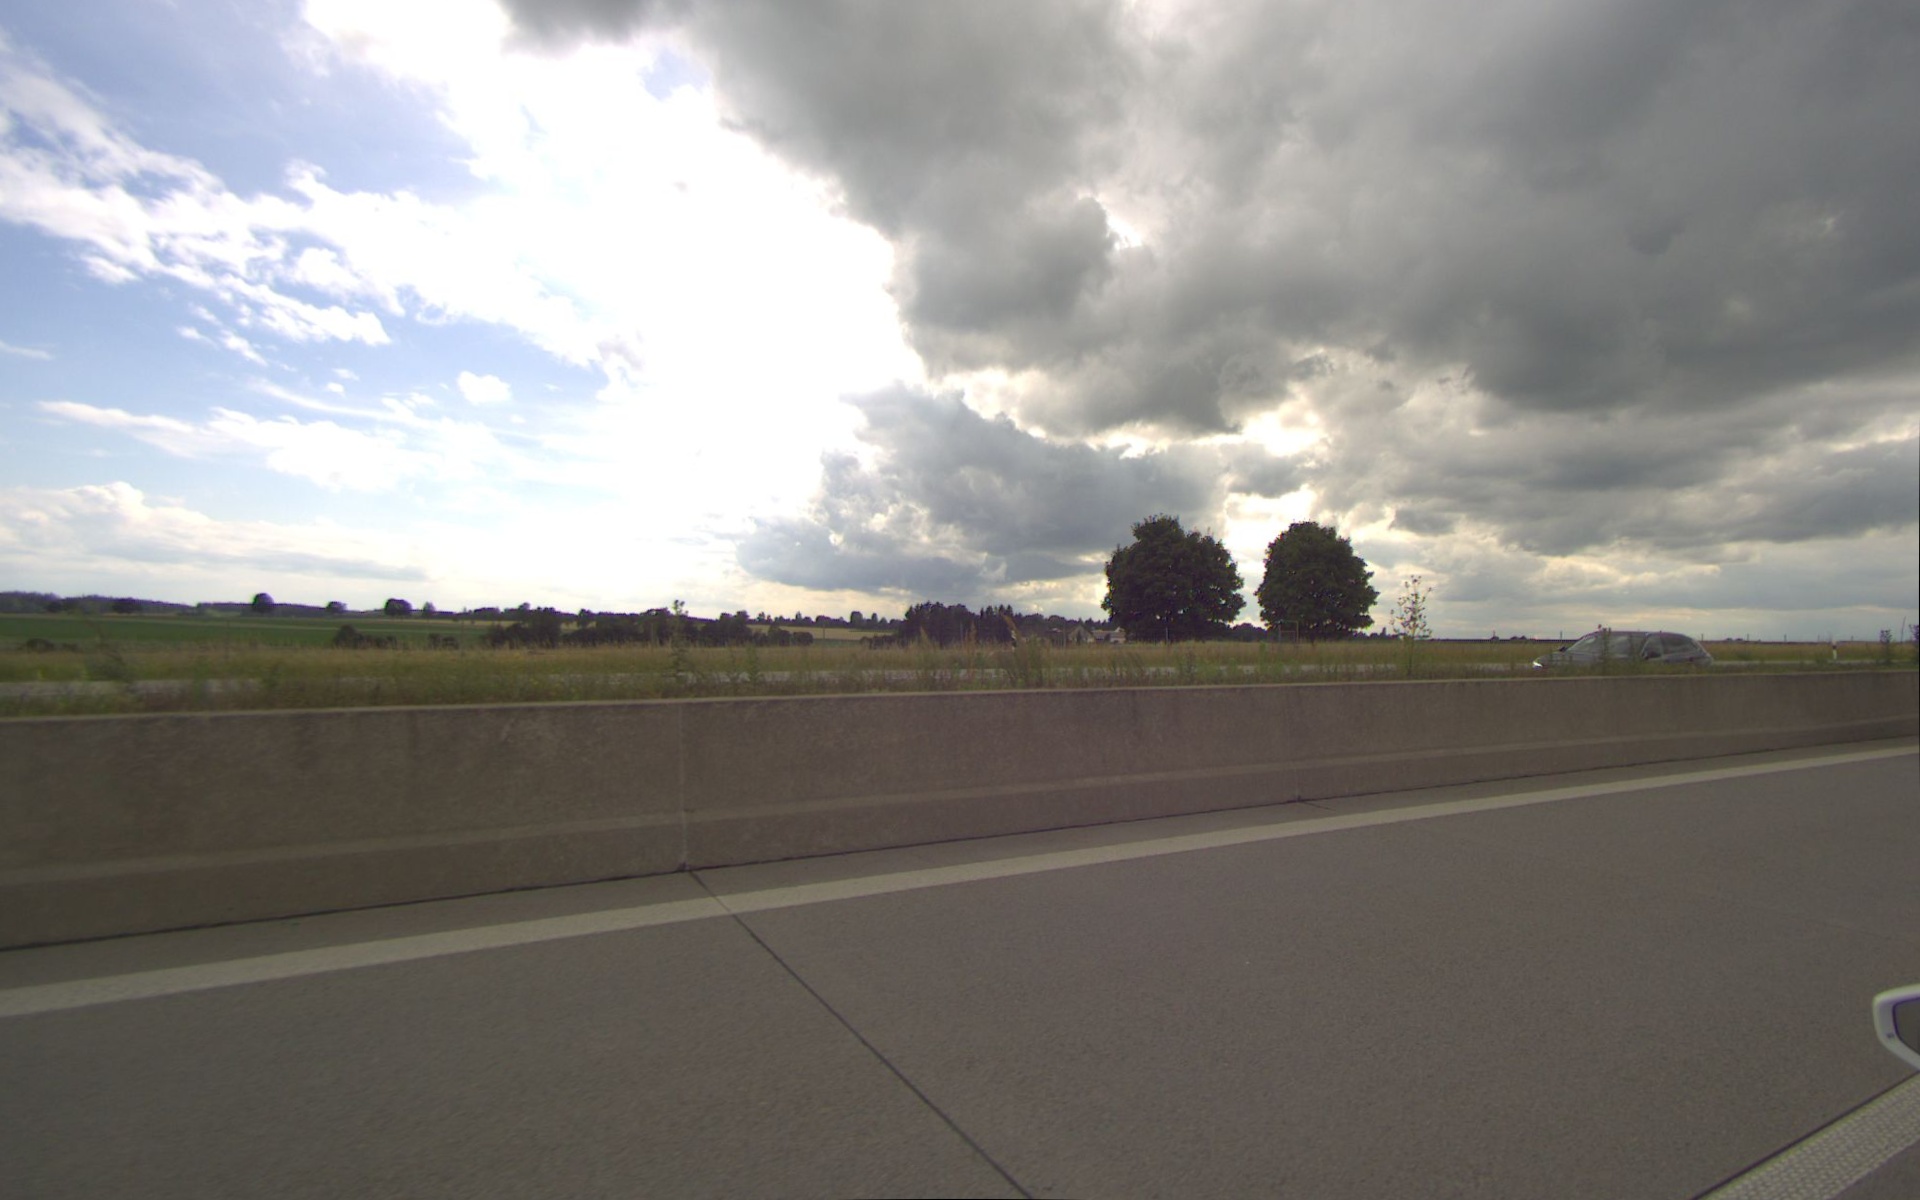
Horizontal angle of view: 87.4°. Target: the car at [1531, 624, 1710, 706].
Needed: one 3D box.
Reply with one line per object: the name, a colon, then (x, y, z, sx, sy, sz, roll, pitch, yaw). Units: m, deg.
car: (14.159, 1.372, 21.501, 3.725, 1.576, 1.704, 2, 0, -30)
